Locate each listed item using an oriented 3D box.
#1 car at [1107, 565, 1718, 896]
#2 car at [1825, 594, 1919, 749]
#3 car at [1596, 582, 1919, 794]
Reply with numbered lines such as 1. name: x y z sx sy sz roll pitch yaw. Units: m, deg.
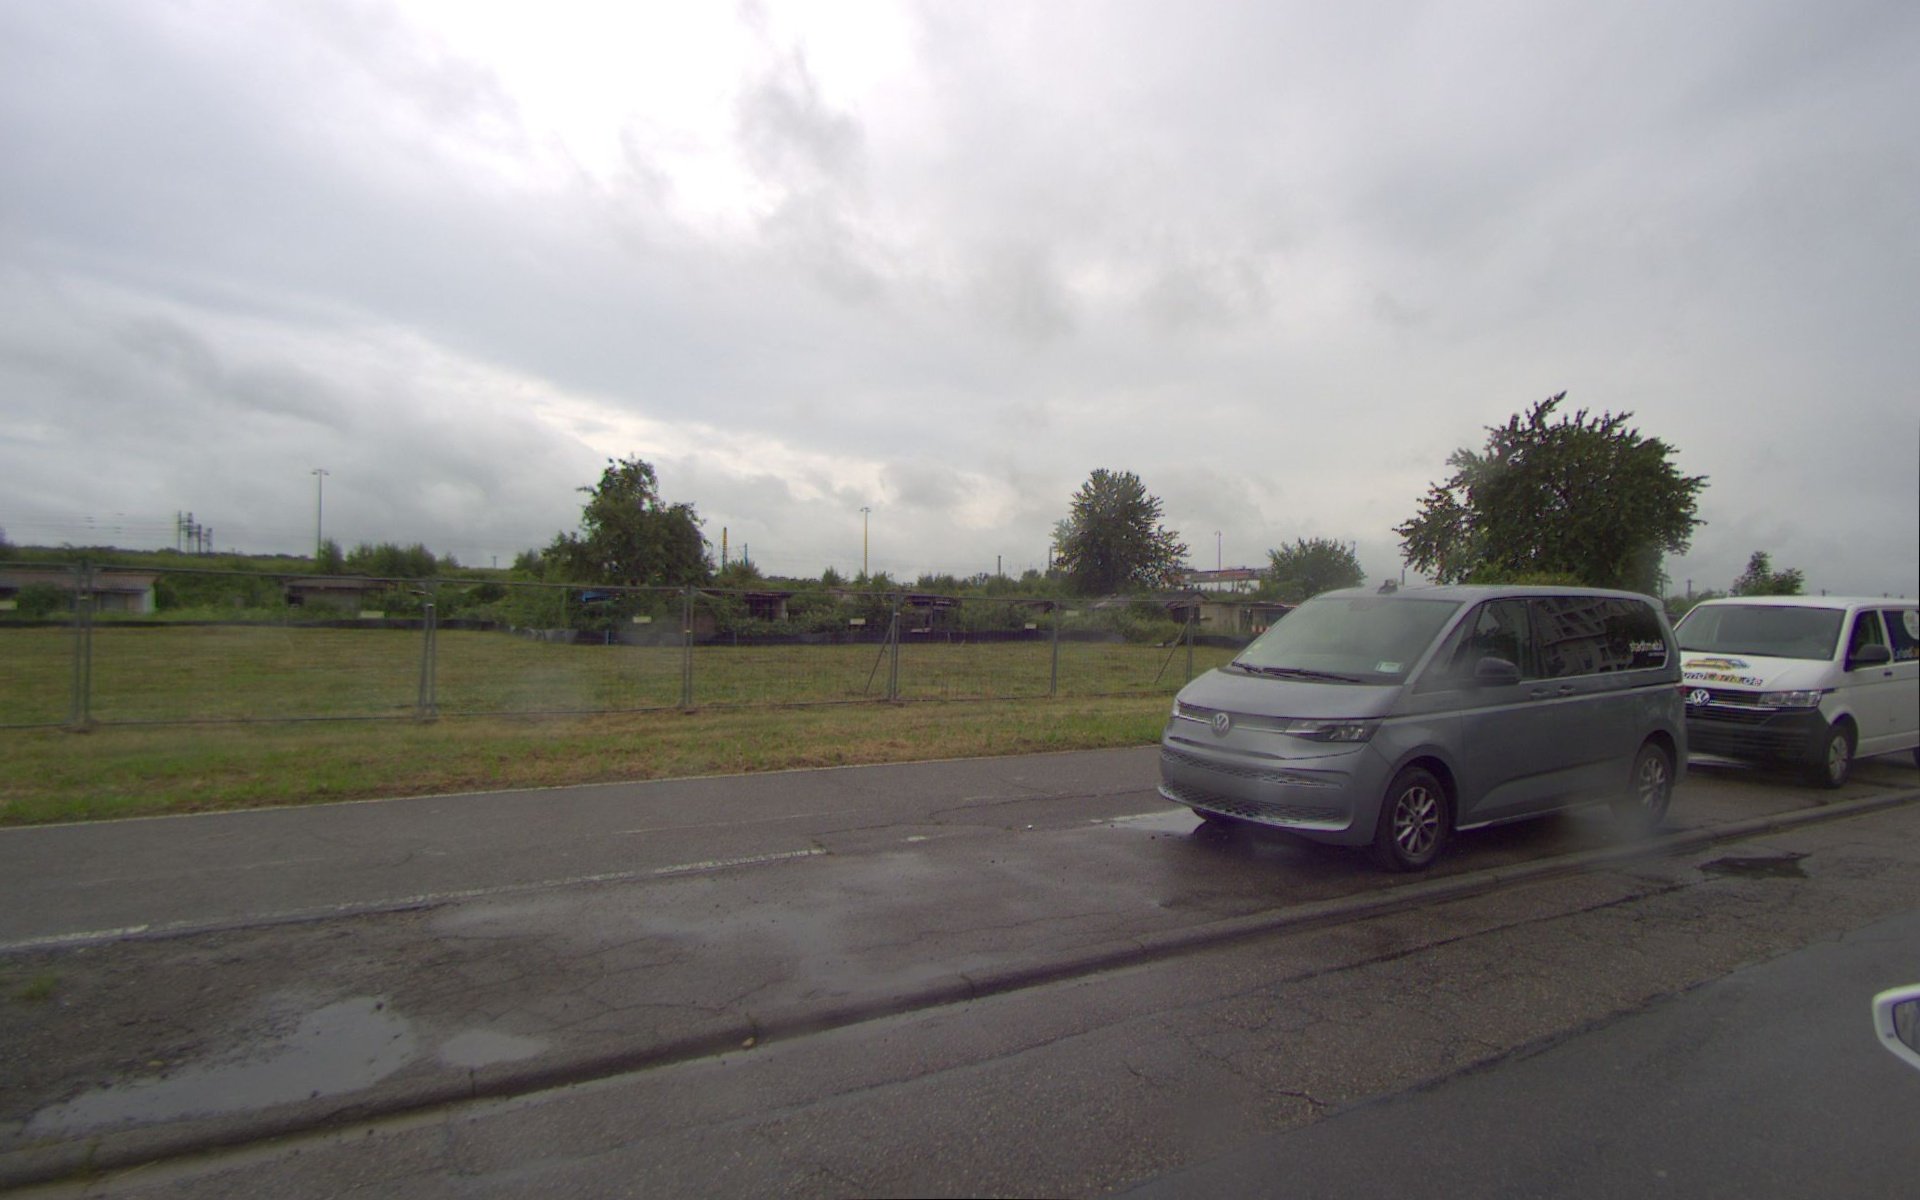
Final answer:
1. car: 3.716 0.811 7.964 4.937 1.927 1.946 1 -1 -31
2. car: 15.162 1.017 14.889 5.212 2.086 1.950 1 0 -30
3. car: 9.884 0.907 11.841 5.196 2.040 1.886 1 -1 -30
